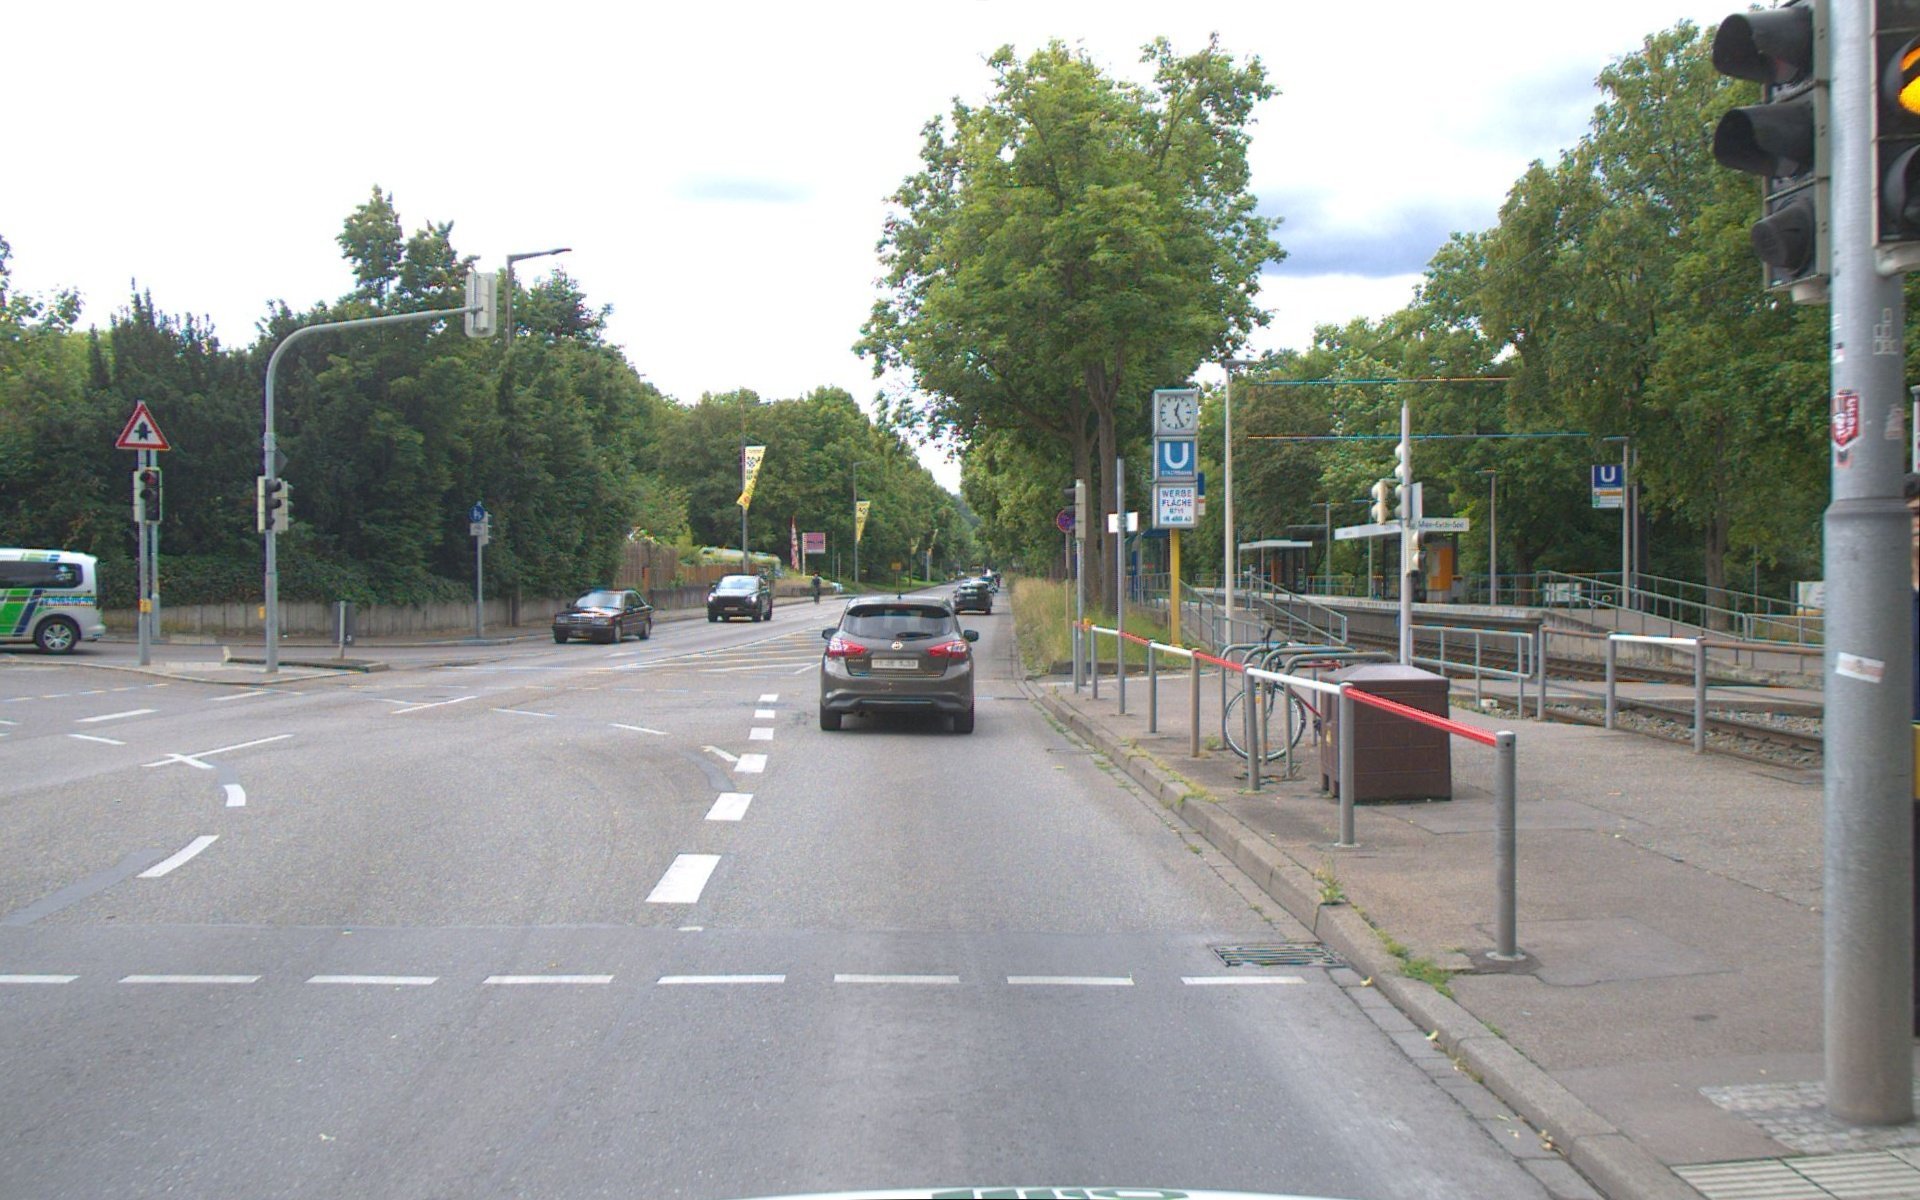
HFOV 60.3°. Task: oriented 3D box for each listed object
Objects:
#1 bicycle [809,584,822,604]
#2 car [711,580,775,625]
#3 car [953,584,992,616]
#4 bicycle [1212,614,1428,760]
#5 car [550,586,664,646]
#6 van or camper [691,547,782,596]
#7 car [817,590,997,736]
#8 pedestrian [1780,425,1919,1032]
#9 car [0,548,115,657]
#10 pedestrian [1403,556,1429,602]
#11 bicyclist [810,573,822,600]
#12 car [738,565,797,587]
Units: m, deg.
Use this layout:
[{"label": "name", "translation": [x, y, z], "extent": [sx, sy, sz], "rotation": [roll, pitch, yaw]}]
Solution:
[{"label": "bicycle", "translation": [-8.607, -0.345, 98.672], "extent": [0.629, 1.165, 2.146], "rotation": [1, 1, -3]}, {"label": "car", "translation": [-8.412, 0.081, 64.350], "extent": [1.863, 1.708, 5.080], "rotation": [0, 0, -1]}, {"label": "car", "translation": [0.627, -0.006, 79.779], "extent": [1.674, 1.501, 3.673], "rotation": [1, 0, 3]}, {"label": "bicycle", "translation": [3.033, 0.723, 14.016], "extent": [1.641, 1.109, 0.602], "rotation": [-3, 0, -2]}, {"label": "car", "translation": [-9.328, 0.413, 44.068], "extent": [1.705, 1.490, 4.345], "rotation": [1, 0, 6]}, {"label": "van or camper", "translation": [-18.795, -2.373, 139.316], "extent": [6.996, 3.428, 2.797], "rotation": [5, 1, 1]}, {"label": "car", "translation": [-0.535, 0.667, 19.849], "extent": [1.799, 1.555, 3.931], "rotation": [1, 0, 3]}, {"label": "pedestrian", "translation": [3.170, 0.357, 5.203], "extent": [0.736, 1.767, 0.840], "rotation": [-3, 0, 6]}, {"label": "car", "translation": [-17.664, 0.036, 29.422], "extent": [4.489, 1.906, 1.925], "rotation": [0, 0, -35]}, {"label": "pedestrian", "translation": [15.482, -0.694, 56.145], "extent": [0.703, 1.537, 0.724], "rotation": [1, 0, 4]}, {"label": "bicyclist", "translation": [-8.601, -0.812, 98.640], "extent": [0.629, 1.562, 0.978], "rotation": [1, 0, -3]}, {"label": "car", "translation": [-13.879, -1.726, 119.202], "extent": [3.902, 1.523, 1.860], "rotation": [1, 0, 6]}]
